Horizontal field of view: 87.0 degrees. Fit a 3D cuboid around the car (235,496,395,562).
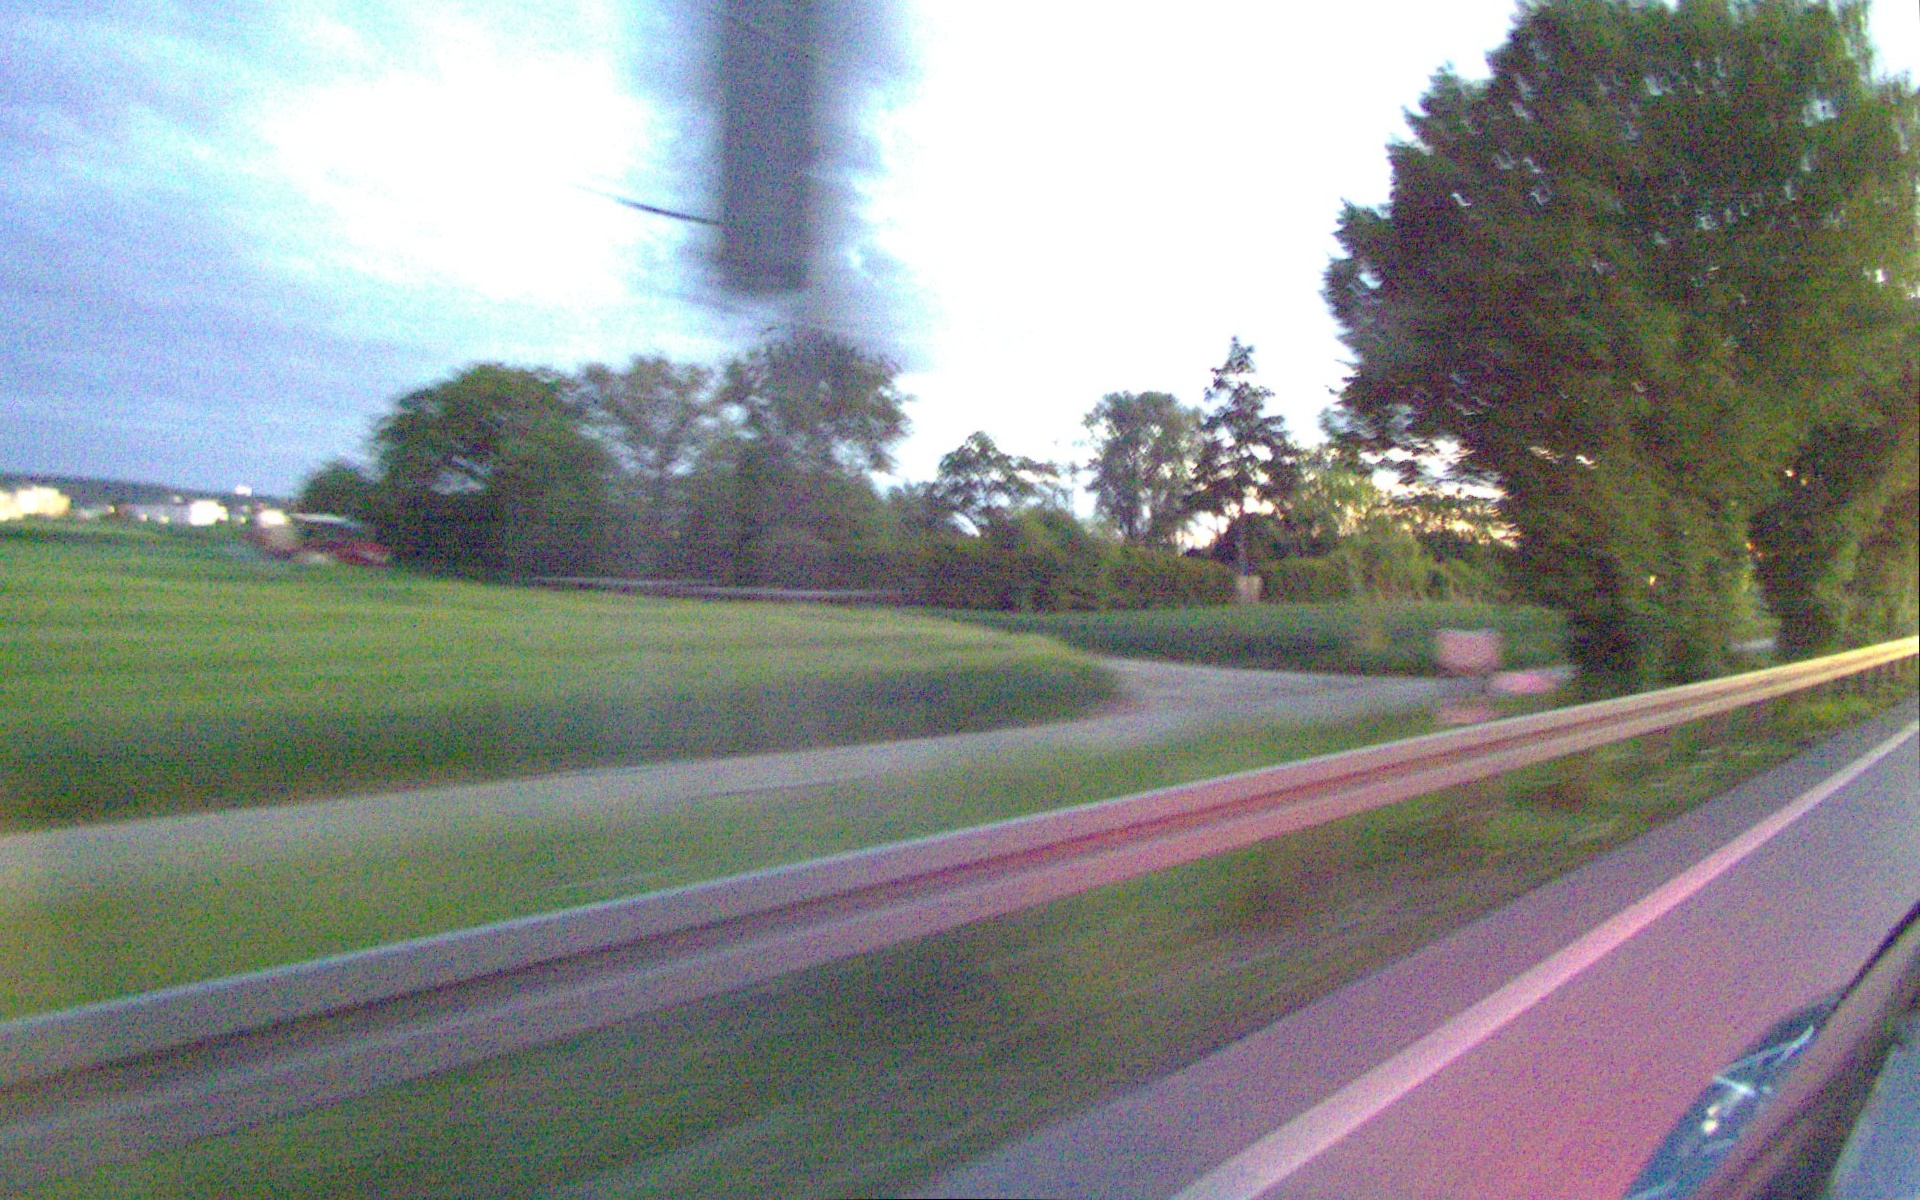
[{"bbox_3d":[-23.544,-2.542,37.085,1.989,2.178,4.518,3,2,37],"label":"car"}]
